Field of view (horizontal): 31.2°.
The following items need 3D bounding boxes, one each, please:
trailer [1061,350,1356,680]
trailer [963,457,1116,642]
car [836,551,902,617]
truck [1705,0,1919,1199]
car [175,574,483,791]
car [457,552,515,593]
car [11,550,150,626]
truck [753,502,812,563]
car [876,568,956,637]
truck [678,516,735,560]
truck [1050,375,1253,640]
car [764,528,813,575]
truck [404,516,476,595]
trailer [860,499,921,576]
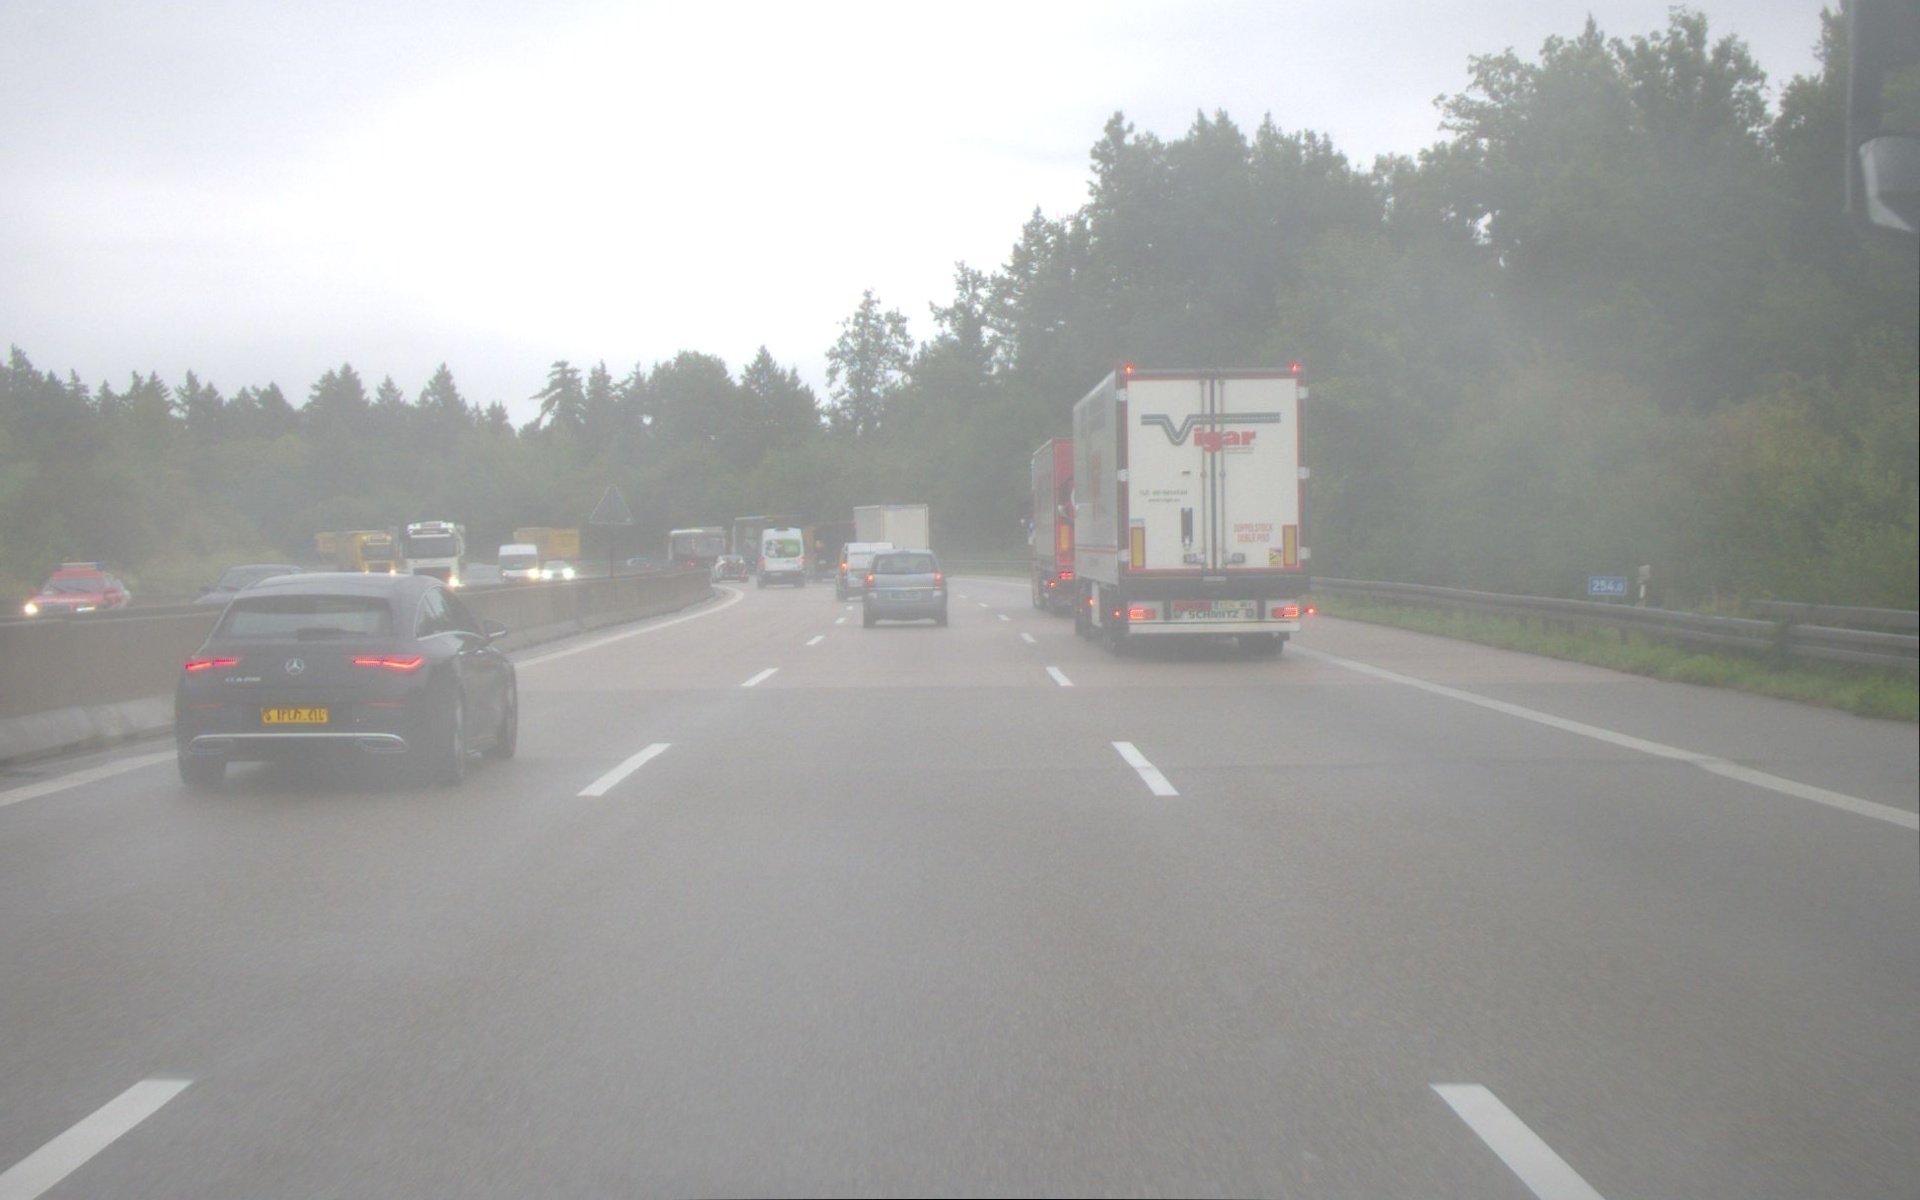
[{"bbox_3d":[3.338,-1.190,50.100,2.734,4.089,13.684,-2,1,-2],"label":"trailer"},{"bbox_3d":[1.730,-1.226,81.045,2.370,3.940,12.522,-2,1,-4],"label":"trailer"},{"bbox_3d":[-2.926,-0.519,109.383,1.725,2.007,3.658,-2,1,-6],"label":"car"},{"bbox_3d":[3.093,-0.576,4.942,2.721,4.027,5.753,0,1,-1],"label":"truck"},{"bbox_3d":[-4.296,0.518,23.857,1.553,1.347,3.684,0,1,-2],"label":"car"},{"bbox_3d":[-18.306,-1.085,132.938,1.608,1.548,4.643,-1,1,-1],"label":"car"},{"bbox_3d":[-20.419,-0.306,80.046,1.993,1.693,4.974,-1,1,-1],"label":"car"},{"bbox_3d":[-12.472,-4.797,241.268,3.368,4.117,10.440,-1,2,-7],"label":"truck"},{"bbox_3d":[-0.932,0.039,71.196,1.553,1.347,3.684,0,1,-2],"label":"car"},{"bbox_3d":[-17.988,-4.418,243.387,3.082,2.895,7.906,-1,2,-11],"label":"truck"},{"bbox_3d":[3.082,-1.507,56.872,2.798,4.089,5.968,-2,1,-1],"label":"truck"},{"bbox_3d":[-7.957,-2.256,159.222,1.993,2.052,4.001,-2,1,-6],"label":"car"},{"bbox_3d":[-25.154,-2.170,166.646,2.563,3.654,10.493,-1,1,-4],"label":"truck"},{"bbox_3d":[-3.903,-3.486,189.652,2.419,4.054,12.057,-1,2,-5],"label":"trailer"}]
